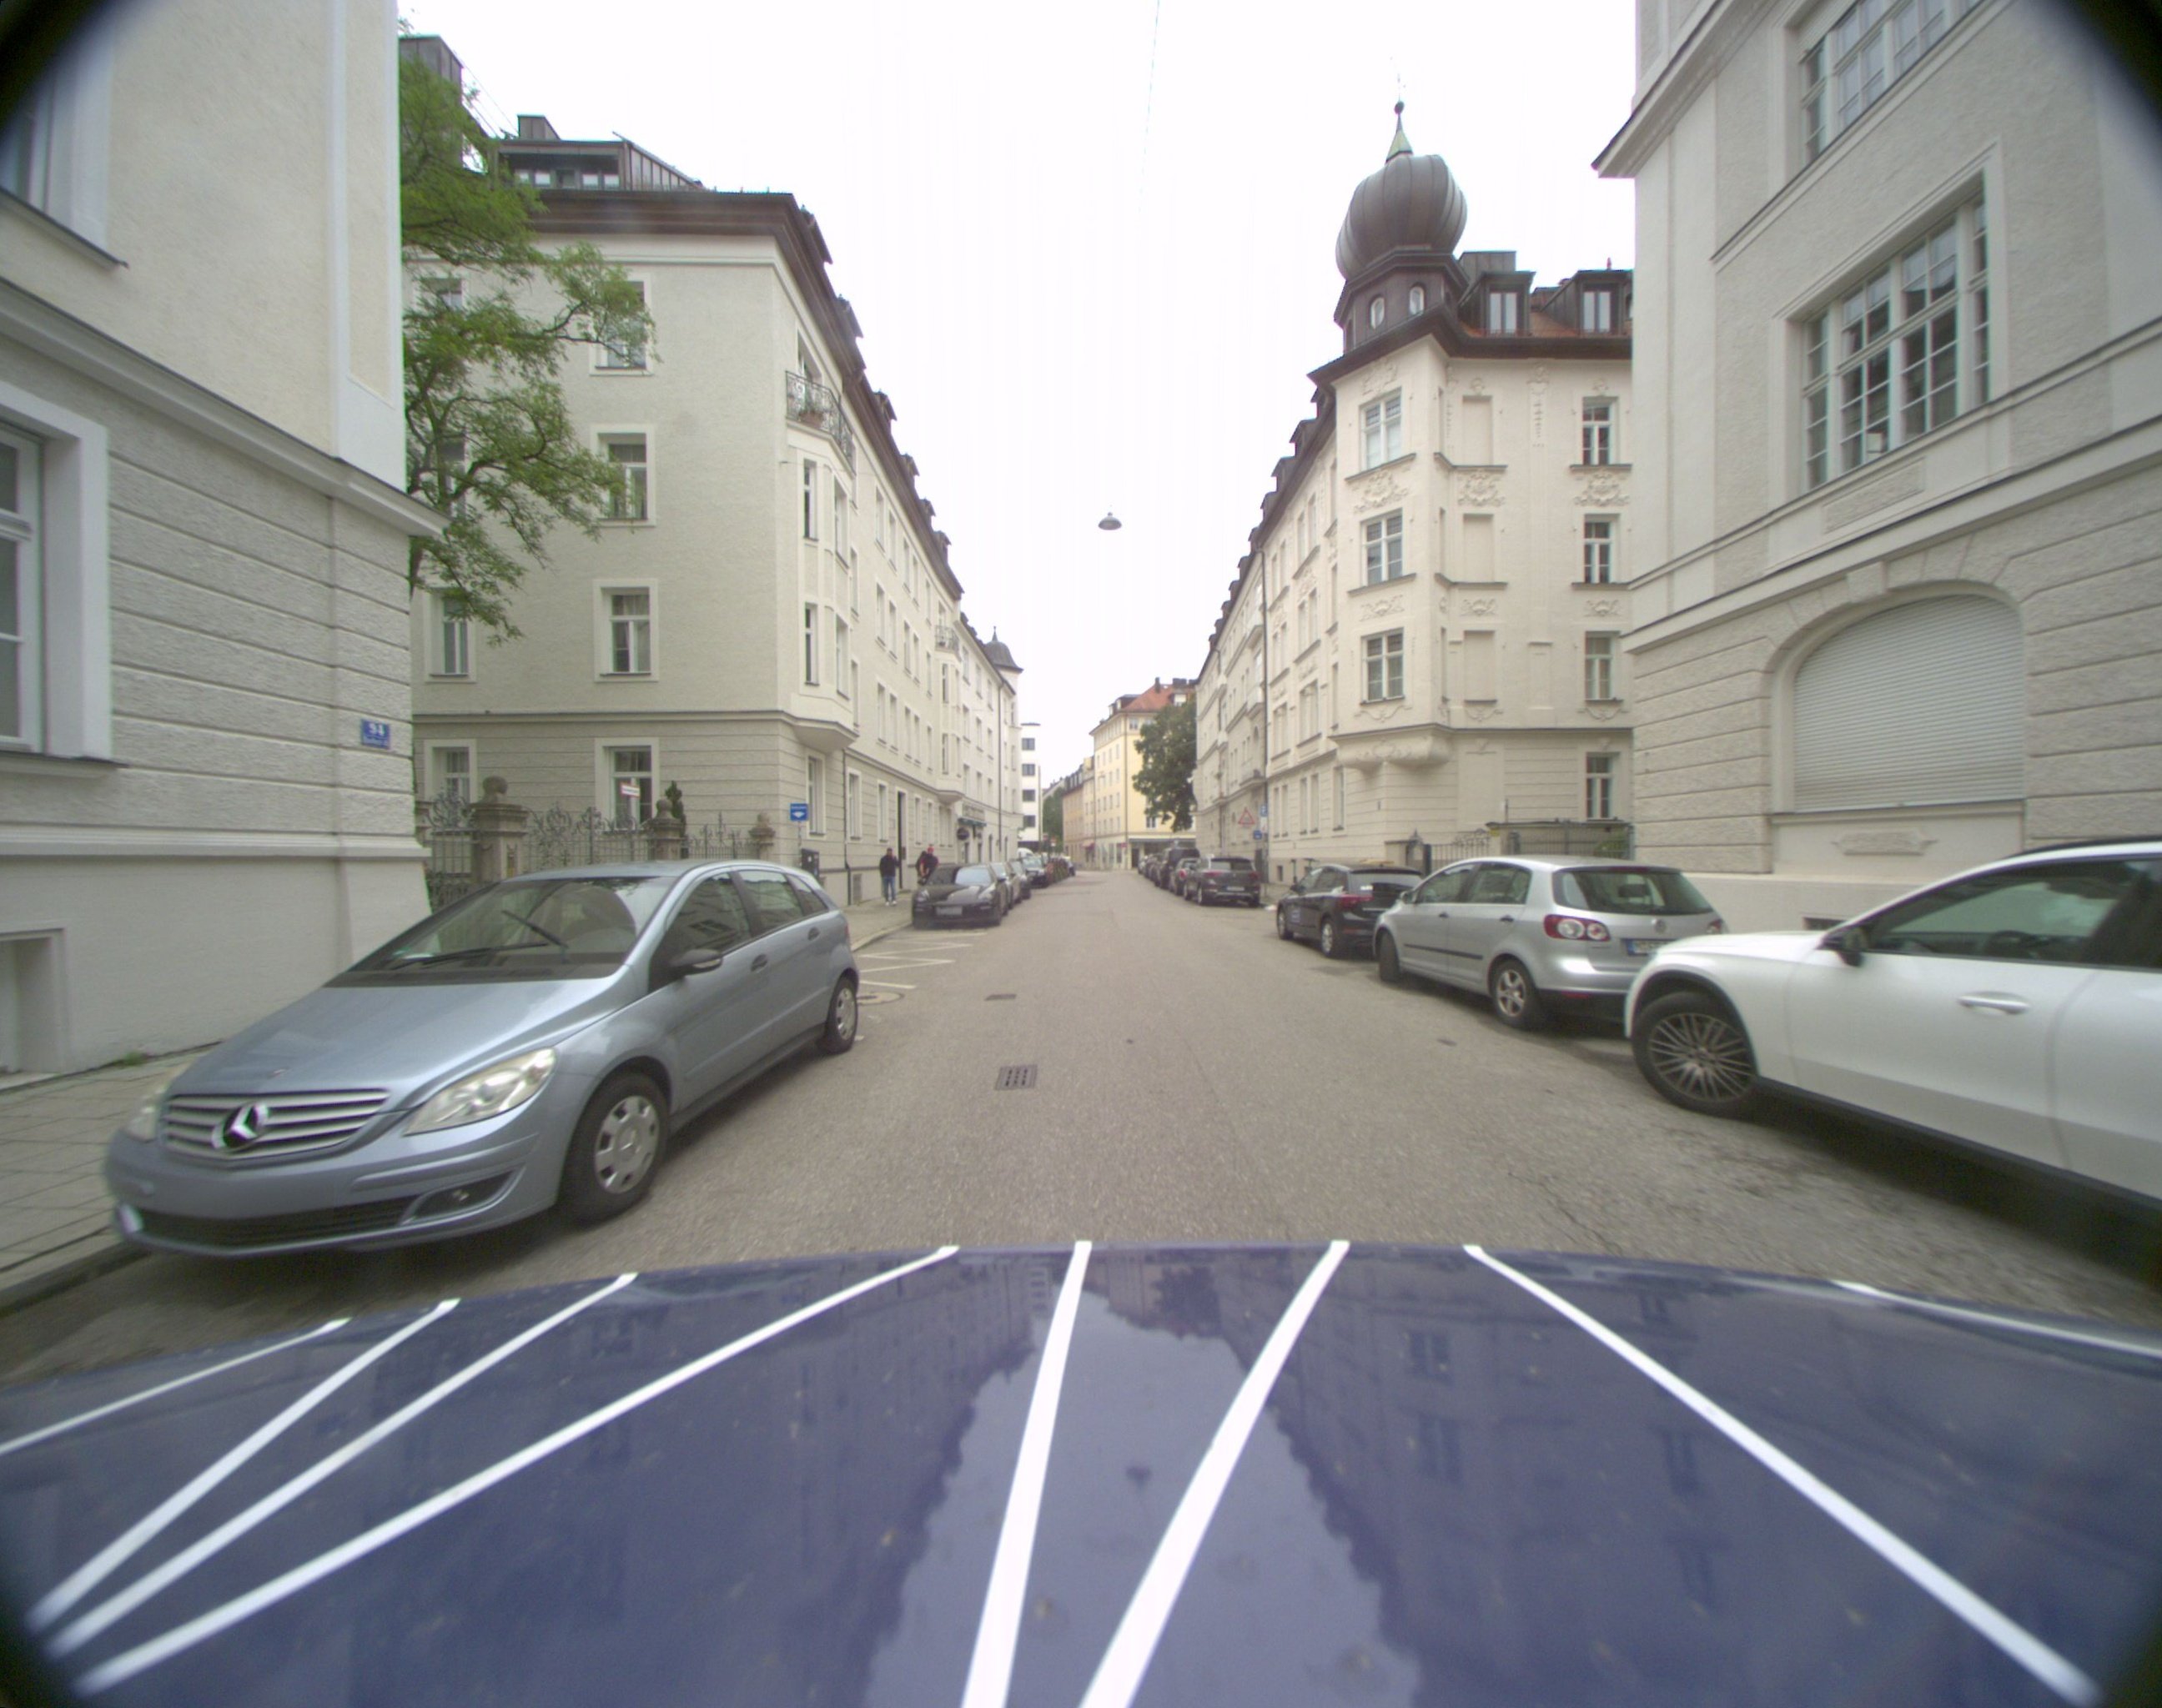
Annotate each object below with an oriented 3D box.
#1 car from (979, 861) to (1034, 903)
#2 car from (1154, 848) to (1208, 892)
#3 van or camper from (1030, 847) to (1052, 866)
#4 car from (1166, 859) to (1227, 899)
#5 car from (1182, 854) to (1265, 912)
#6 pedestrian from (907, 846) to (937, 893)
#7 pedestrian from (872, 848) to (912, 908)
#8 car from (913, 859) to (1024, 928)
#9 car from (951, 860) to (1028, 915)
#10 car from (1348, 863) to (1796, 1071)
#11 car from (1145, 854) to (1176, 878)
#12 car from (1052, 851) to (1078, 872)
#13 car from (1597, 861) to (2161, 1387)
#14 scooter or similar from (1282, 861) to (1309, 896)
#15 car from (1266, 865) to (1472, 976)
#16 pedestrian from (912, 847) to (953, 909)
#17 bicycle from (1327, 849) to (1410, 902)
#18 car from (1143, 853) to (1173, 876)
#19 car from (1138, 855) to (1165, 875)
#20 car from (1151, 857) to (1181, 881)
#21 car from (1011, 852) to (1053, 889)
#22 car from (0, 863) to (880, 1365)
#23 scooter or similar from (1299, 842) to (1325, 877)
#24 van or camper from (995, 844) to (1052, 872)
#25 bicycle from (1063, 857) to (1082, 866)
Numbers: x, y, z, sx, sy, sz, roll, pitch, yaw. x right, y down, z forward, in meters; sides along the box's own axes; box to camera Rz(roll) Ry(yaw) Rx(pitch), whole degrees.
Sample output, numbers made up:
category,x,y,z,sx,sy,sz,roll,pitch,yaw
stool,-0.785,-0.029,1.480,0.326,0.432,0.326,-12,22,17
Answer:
category,x,y,z,sx,sy,sz,roll,pitch,yaw
car,-2.820,1.021,29.631,1.841,1.391,4.972,-3,0,-3
car,4.579,0.706,35.461,1.841,1.883,4.763,1,0,0
van or camper,-5.714,0.333,107.311,1.968,2.494,5.716,-1,0,-14
car,4.484,0.934,30.107,1.841,1.386,4.245,1,0,1
car,4.385,0.843,24.004,1.731,1.609,4.120,1,0,-1
pedestrian,-6.476,0.620,30.989,0.885,1.803,1.111,3,1,1
pedestrian,-5.738,0.710,23.138,0.885,1.776,1.111,1,1,2
car,-2.693,0.905,19.372,1.998,1.449,4.713,-2,0,1
car,-2.791,0.986,24.175,1.765,1.477,4.420,-4,0,1
car,4.584,0.912,8.039,1.787,1.532,4.256,1,0,-3
car,5.428,0.786,52.231,1.880,1.590,4.434,-1,0,3
car,-1.295,0.596,62.639,1.841,1.609,4.095,-4,0,2
car,4.382,0.871,2.783,1.920,1.609,4.571,-1,0,1
scooter or similar,7.704,0.865,27.377,0.533,1.193,1.548,-1,1,1
car,4.542,0.963,12.736,1.797,1.407,4.278,1,1,0
pedestrian,-4.479,0.700,22.932,0.885,1.801,1.111,1,1,6
bicycle,7.617,0.522,20.324,1.154,1.235,2.716,-5,0,1
car,5.781,0.750,57.783,1.841,1.668,4.213,-1,0,0
car,5.748,0.894,62.668,1.699,1.559,3.950,0,0,-3
car,5.210,0.887,46.932,1.658,1.399,4.092,0,0,3
car,-2.447,0.805,38.820,1.804,1.665,4.188,-3,0,0
car,-2.886,0.919,4.761,1.826,1.560,4.401,-4,0,2
scooter or similar,8.311,0.181,27.355,0.495,1.215,1.548,-1,1,1
van or camper,-6.010,0.471,79.124,5.869,2.697,2.304,-1,-2,-6
bicycle,-0.994,0.836,87.024,1.995,0.958,0.973,-1,0,-11
